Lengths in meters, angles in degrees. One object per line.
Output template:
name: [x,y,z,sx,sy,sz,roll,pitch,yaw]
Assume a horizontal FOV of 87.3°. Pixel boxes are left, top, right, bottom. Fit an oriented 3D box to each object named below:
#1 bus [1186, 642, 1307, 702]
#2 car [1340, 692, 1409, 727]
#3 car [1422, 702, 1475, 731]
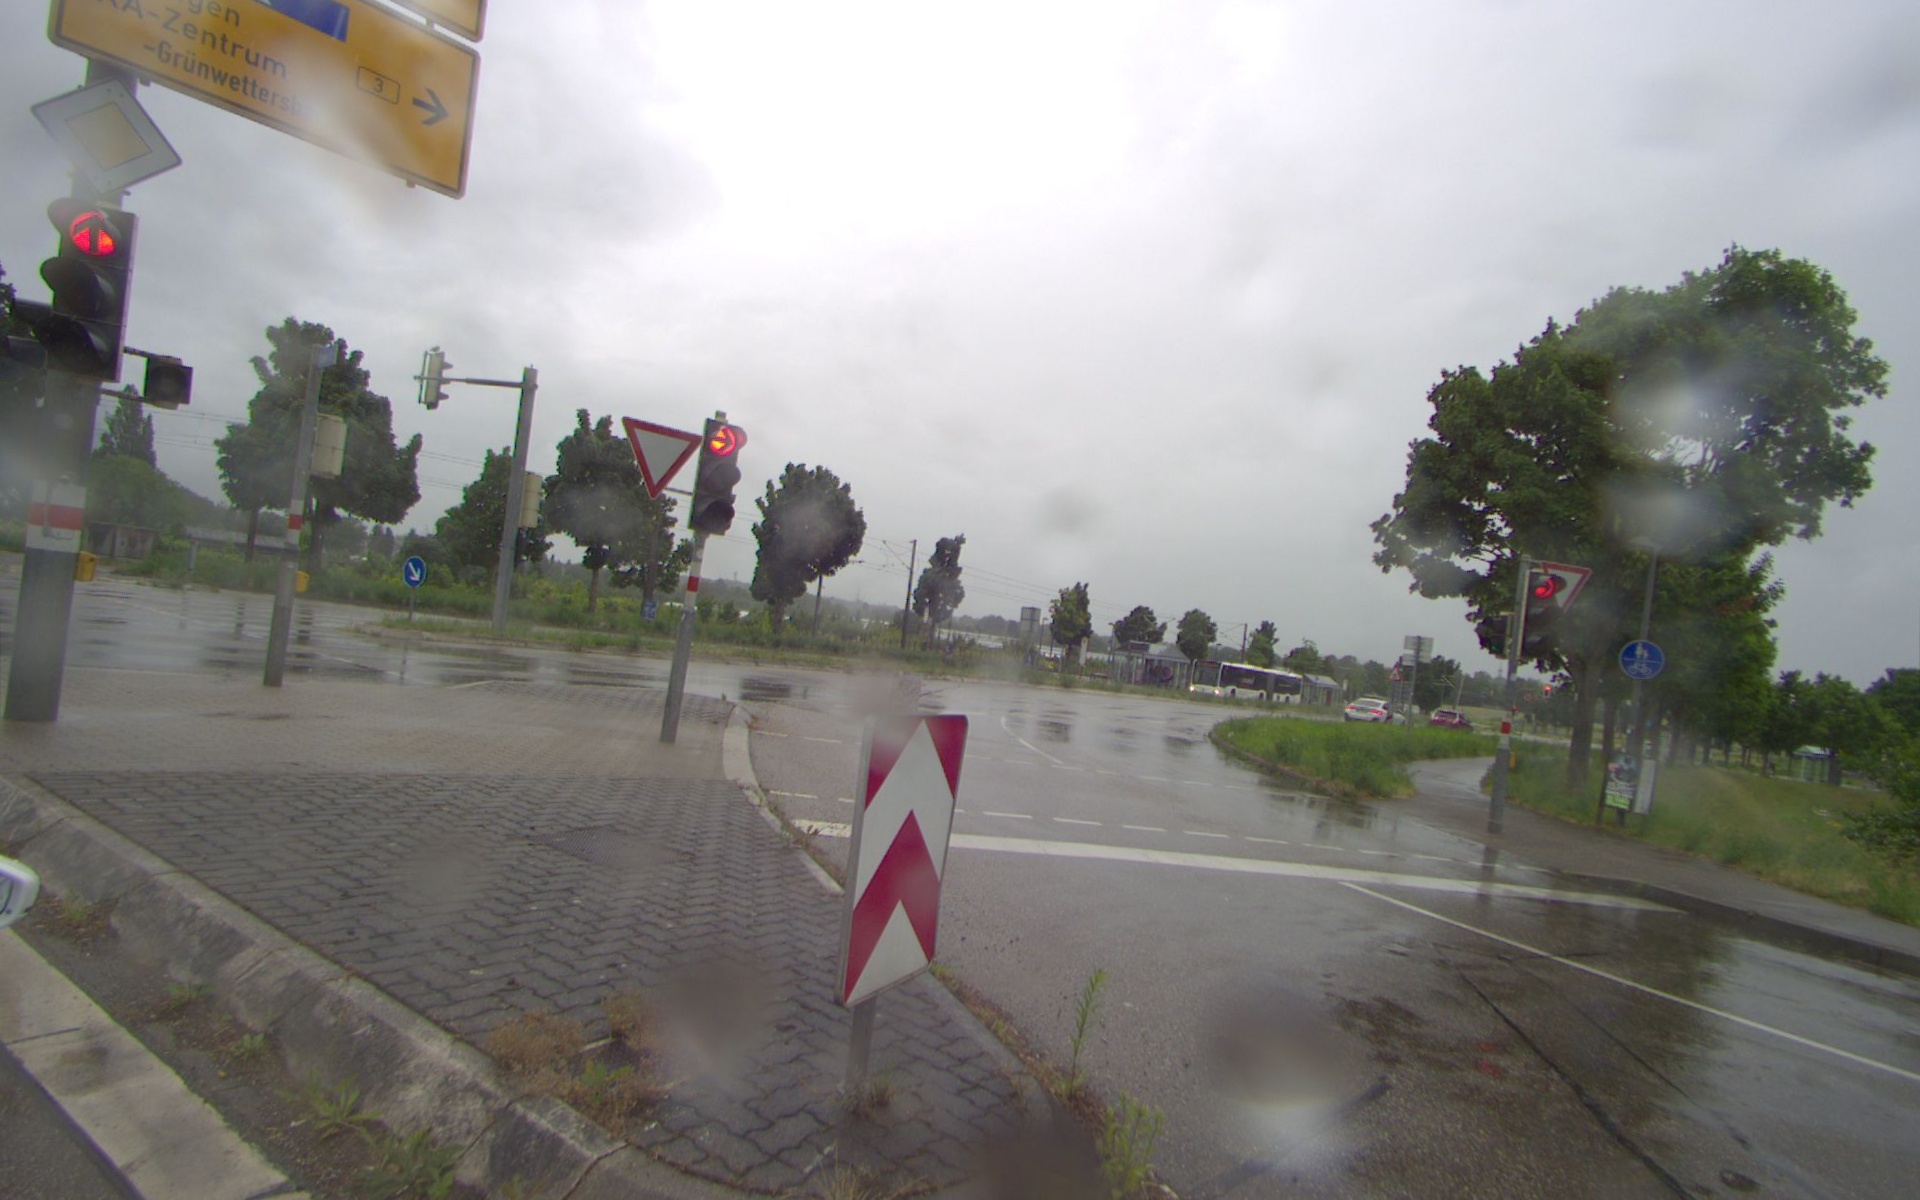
bus: [24.331,6.222,84.139,2.715,3.828,18.379,7,-2,38]
car: [20.012,5.292,48.519,1.853,1.370,4.036,6,-2,40]
car: [29.024,6.930,59.733,1.853,1.370,4.036,6,-2,40]
